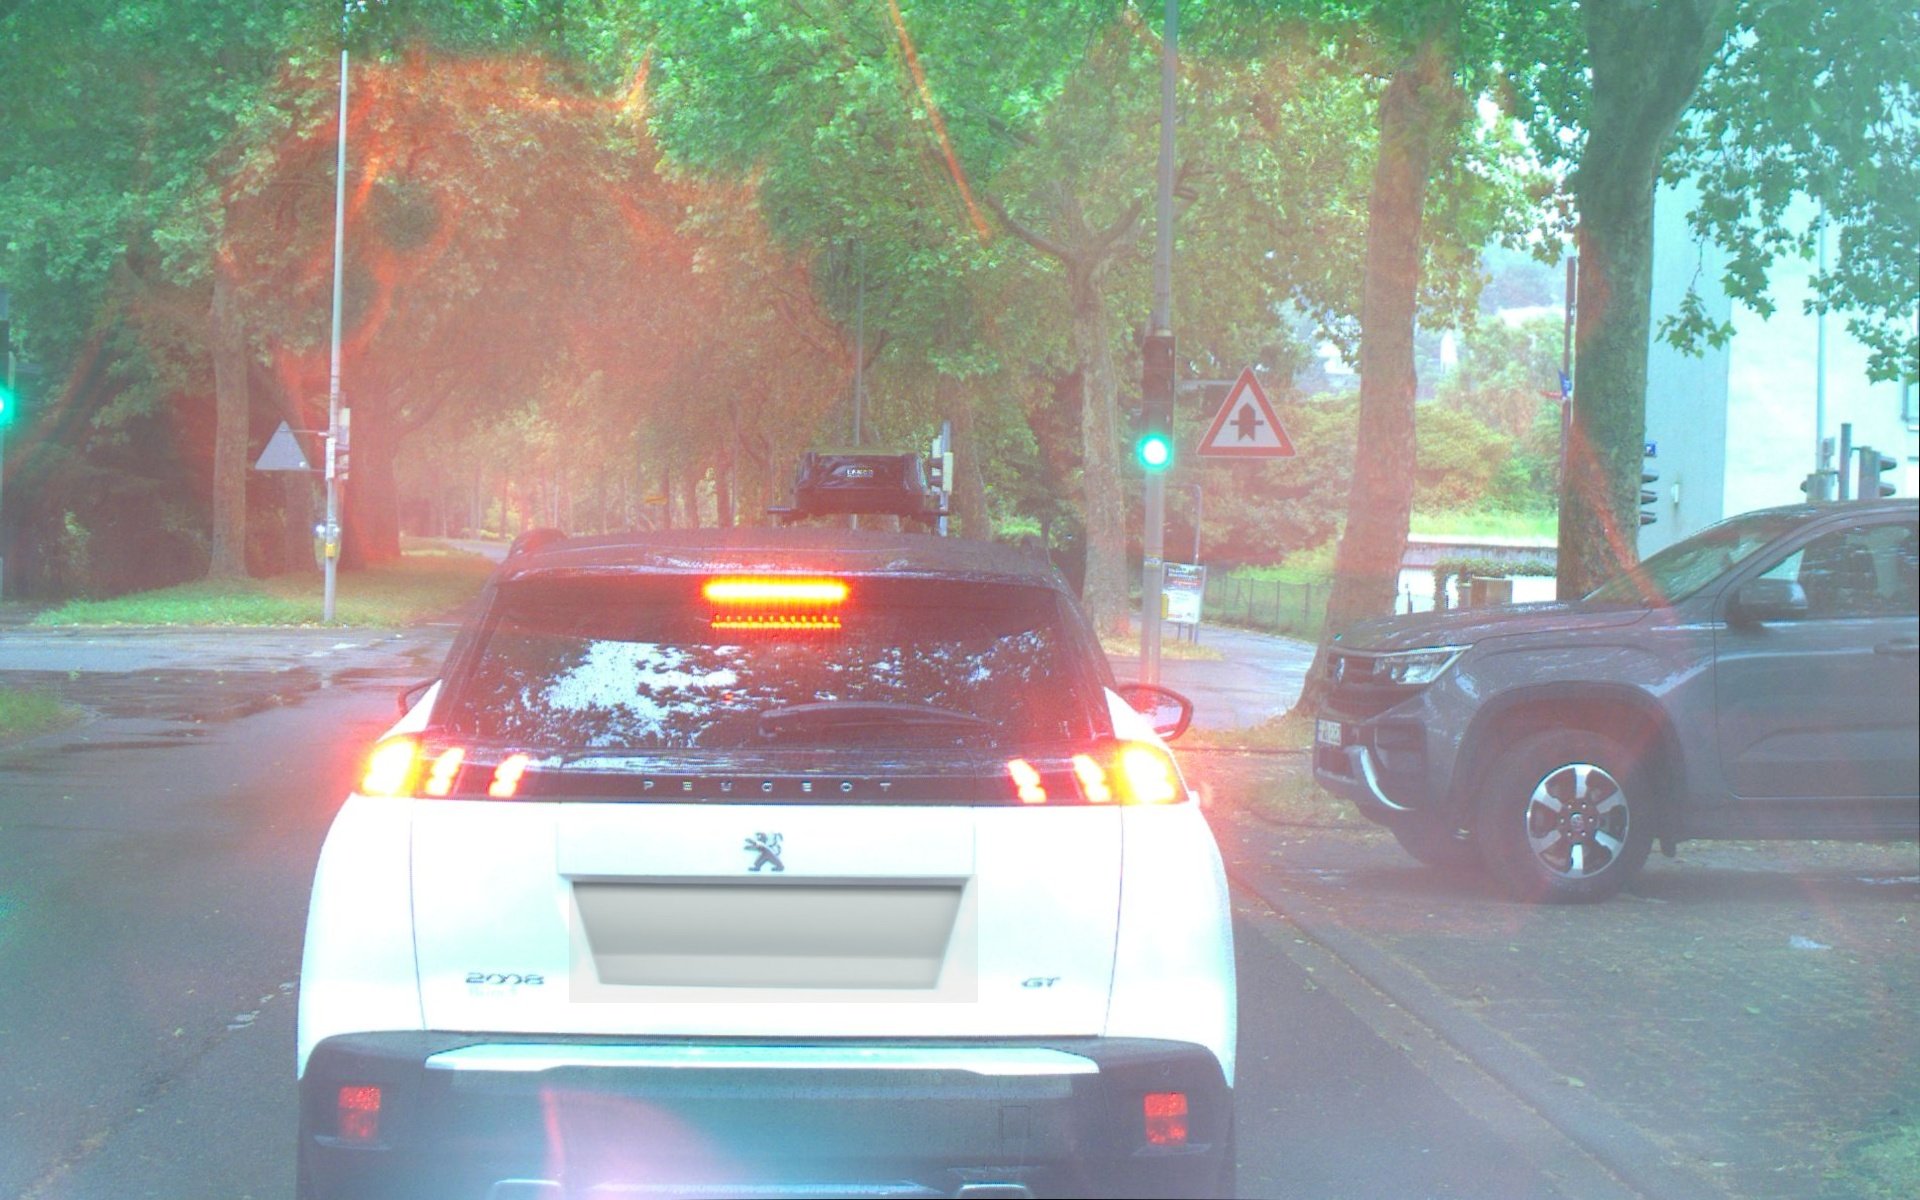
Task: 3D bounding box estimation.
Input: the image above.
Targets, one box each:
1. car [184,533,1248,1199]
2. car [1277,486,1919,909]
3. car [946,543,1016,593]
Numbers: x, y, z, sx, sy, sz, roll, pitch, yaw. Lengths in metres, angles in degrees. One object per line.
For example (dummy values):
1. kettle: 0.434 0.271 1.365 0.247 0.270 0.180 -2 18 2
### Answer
1. car: -0.453 0.636 7.852 1.780 1.531 4.058 1 1 -1
2. car: 4.305 0.437 15.955 5.337 1.800 1.846 1 1 -7
3. car: 0.650 -1.056 111.756 1.905 1.504 3.932 2 1 -5
